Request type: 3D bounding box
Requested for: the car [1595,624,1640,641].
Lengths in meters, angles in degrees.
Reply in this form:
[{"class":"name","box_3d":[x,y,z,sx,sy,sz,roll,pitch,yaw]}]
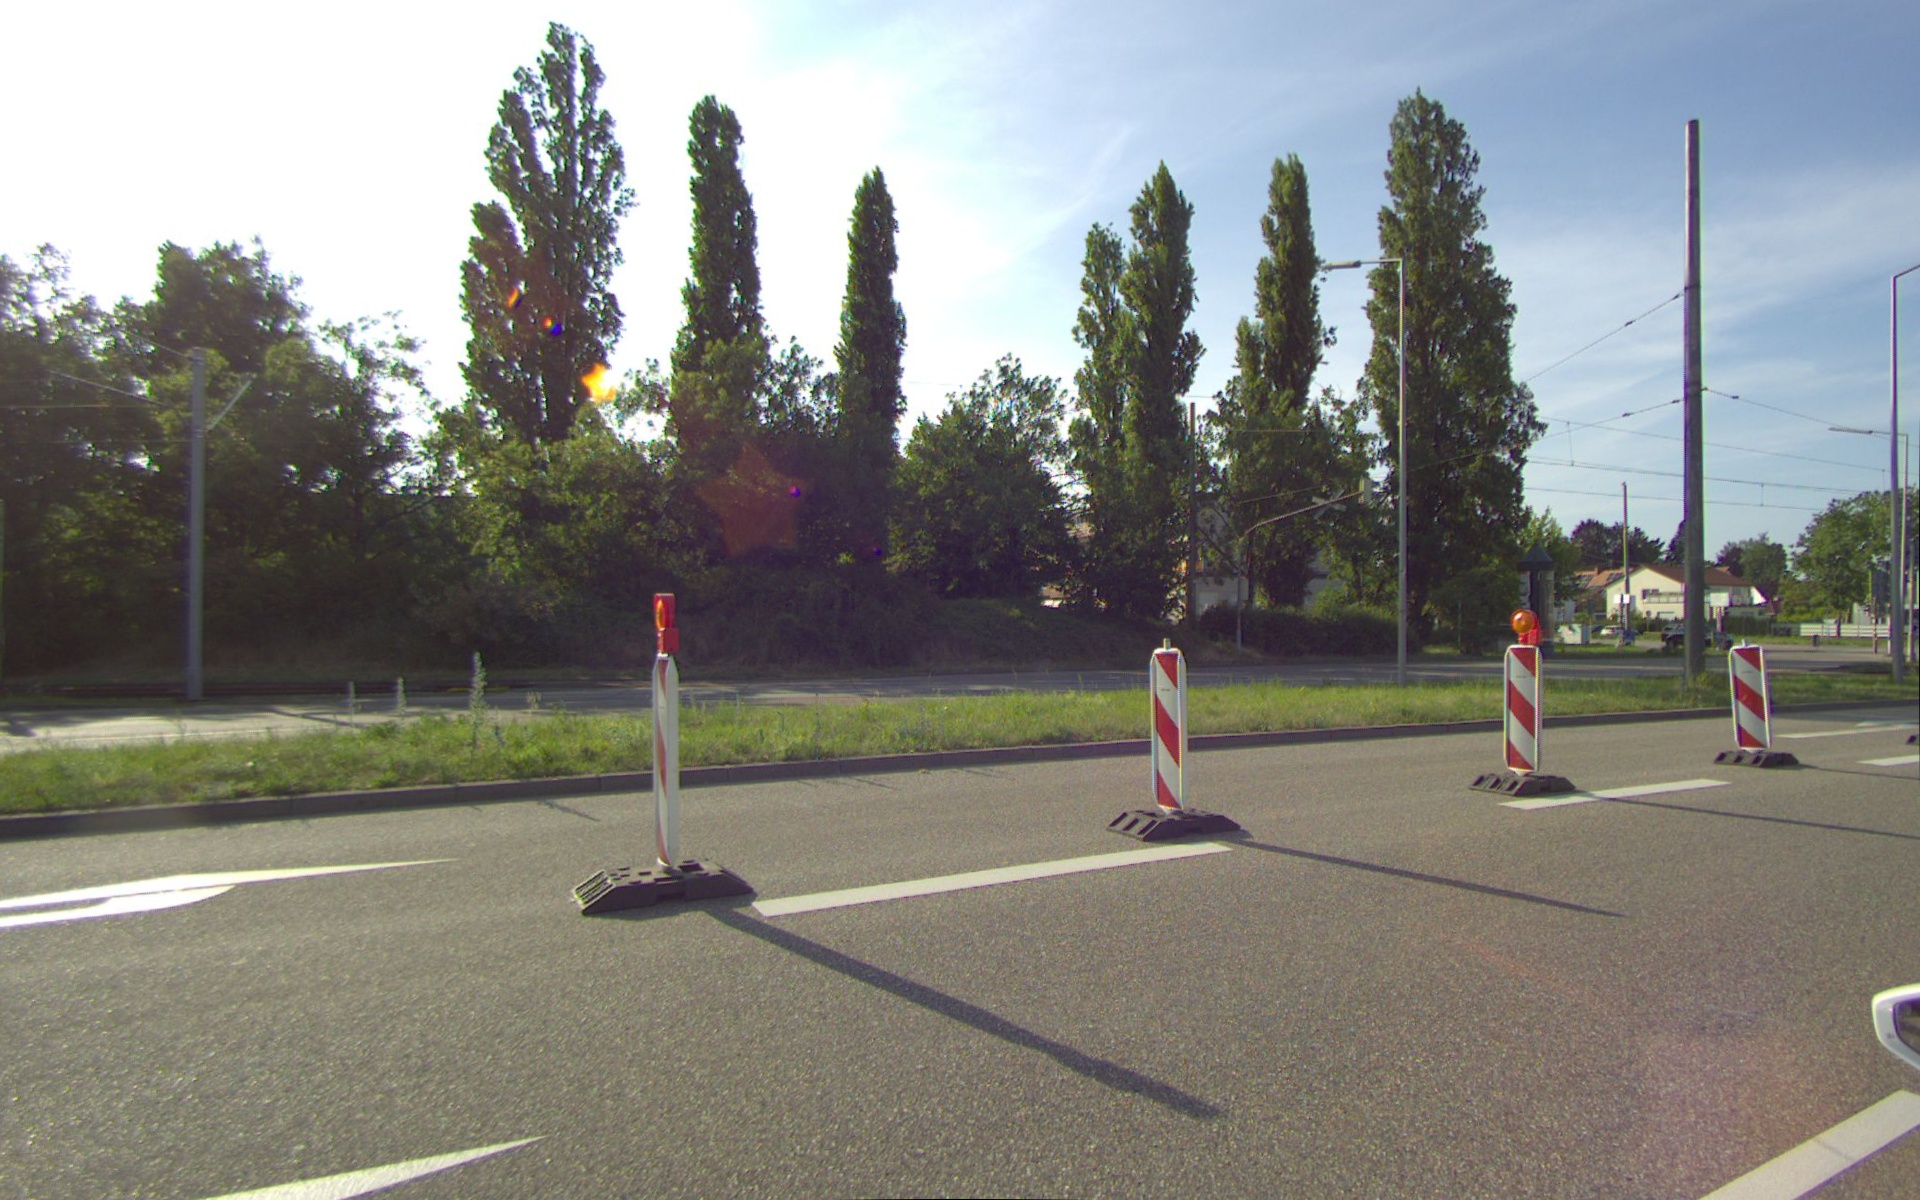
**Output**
[{"class":"car","box_3d":[72.830,3.579,111.241,4.151,1.706,1.993,2,0,-17]}]
